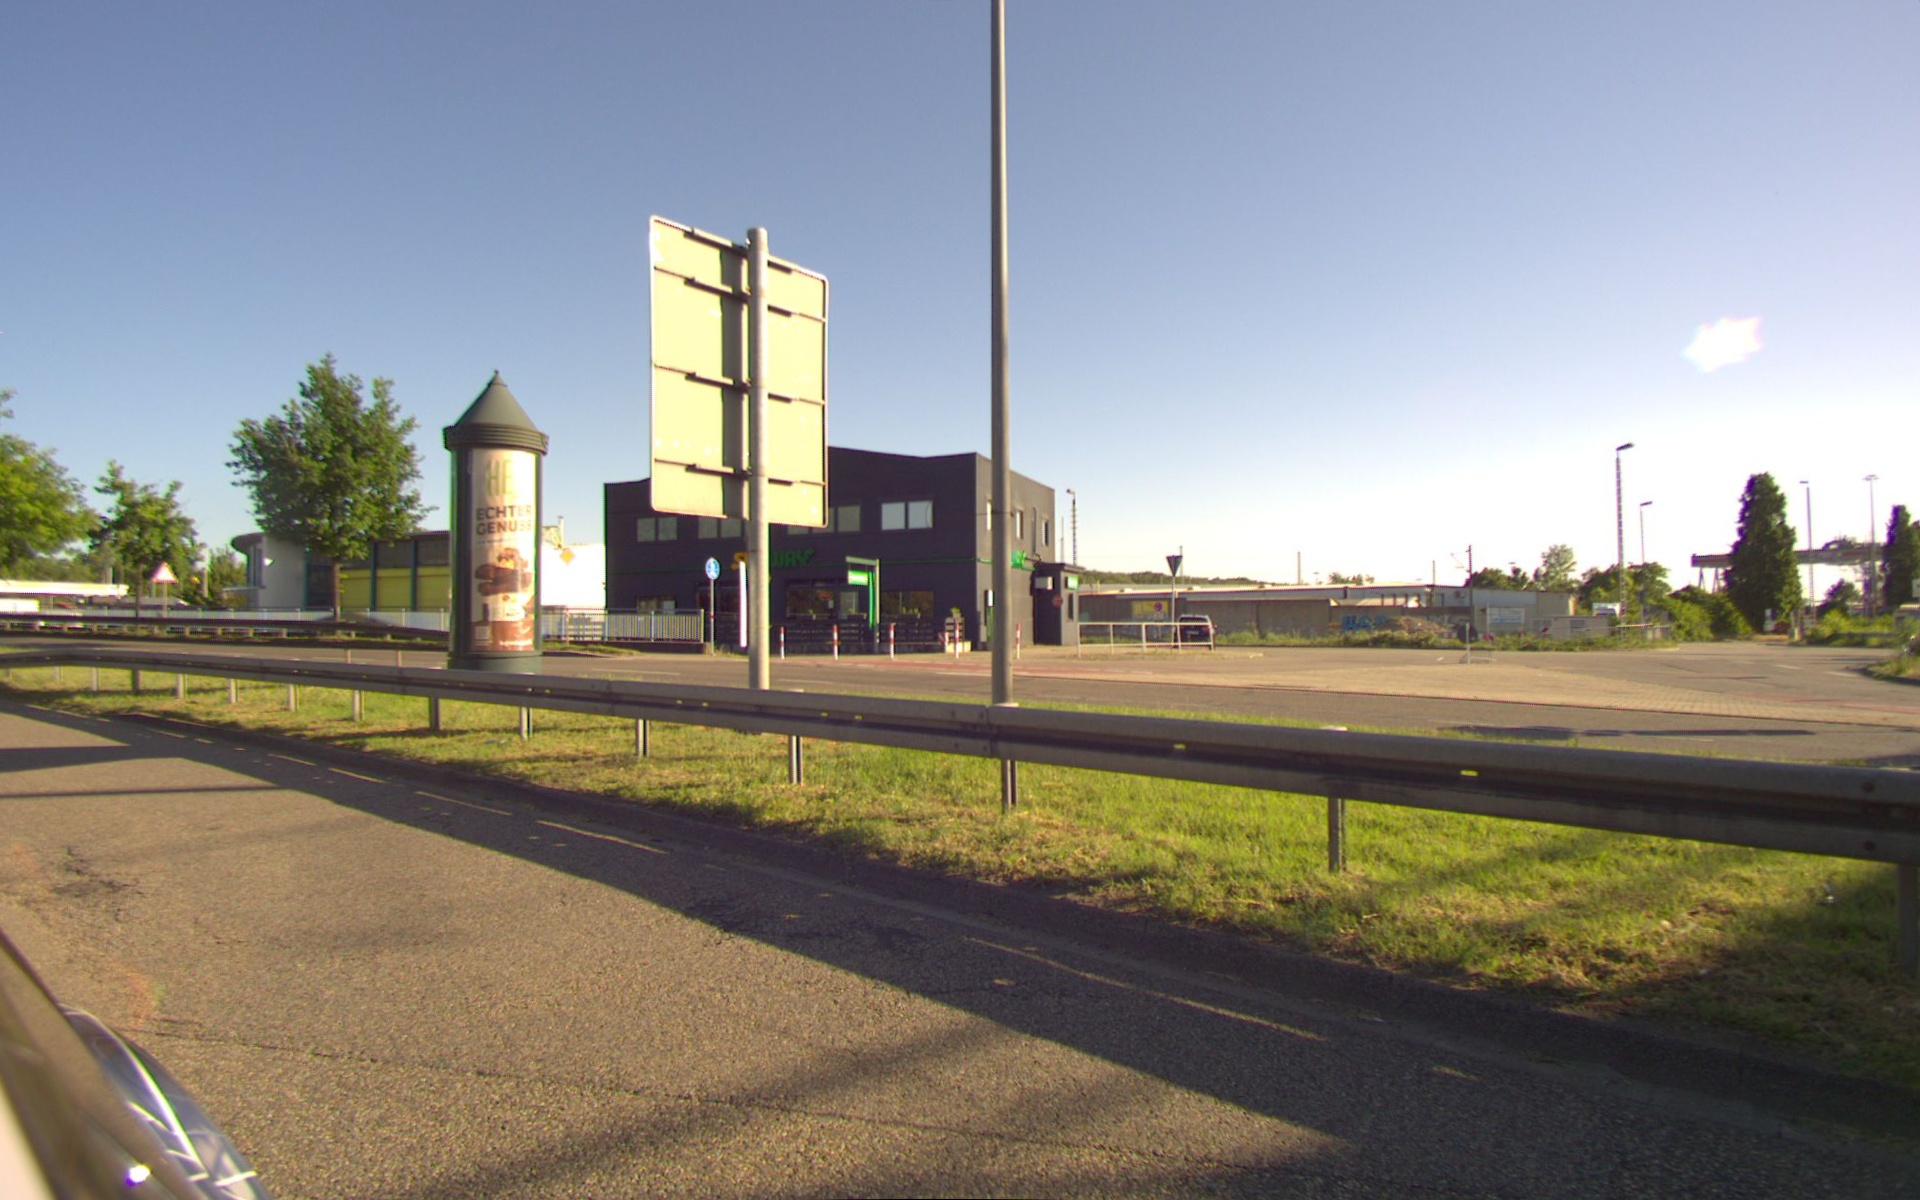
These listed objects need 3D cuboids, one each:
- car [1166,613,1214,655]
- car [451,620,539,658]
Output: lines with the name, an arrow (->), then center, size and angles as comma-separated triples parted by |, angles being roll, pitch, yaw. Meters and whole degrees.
car -> 10.003, 1.505, 43.861 | 1.935, 1.728, 4.089 | 1, -3, 14
car -> -21.211, 1.754, 46.213 | 3.429, 1.579, 1.617 | 0, 1, -34
